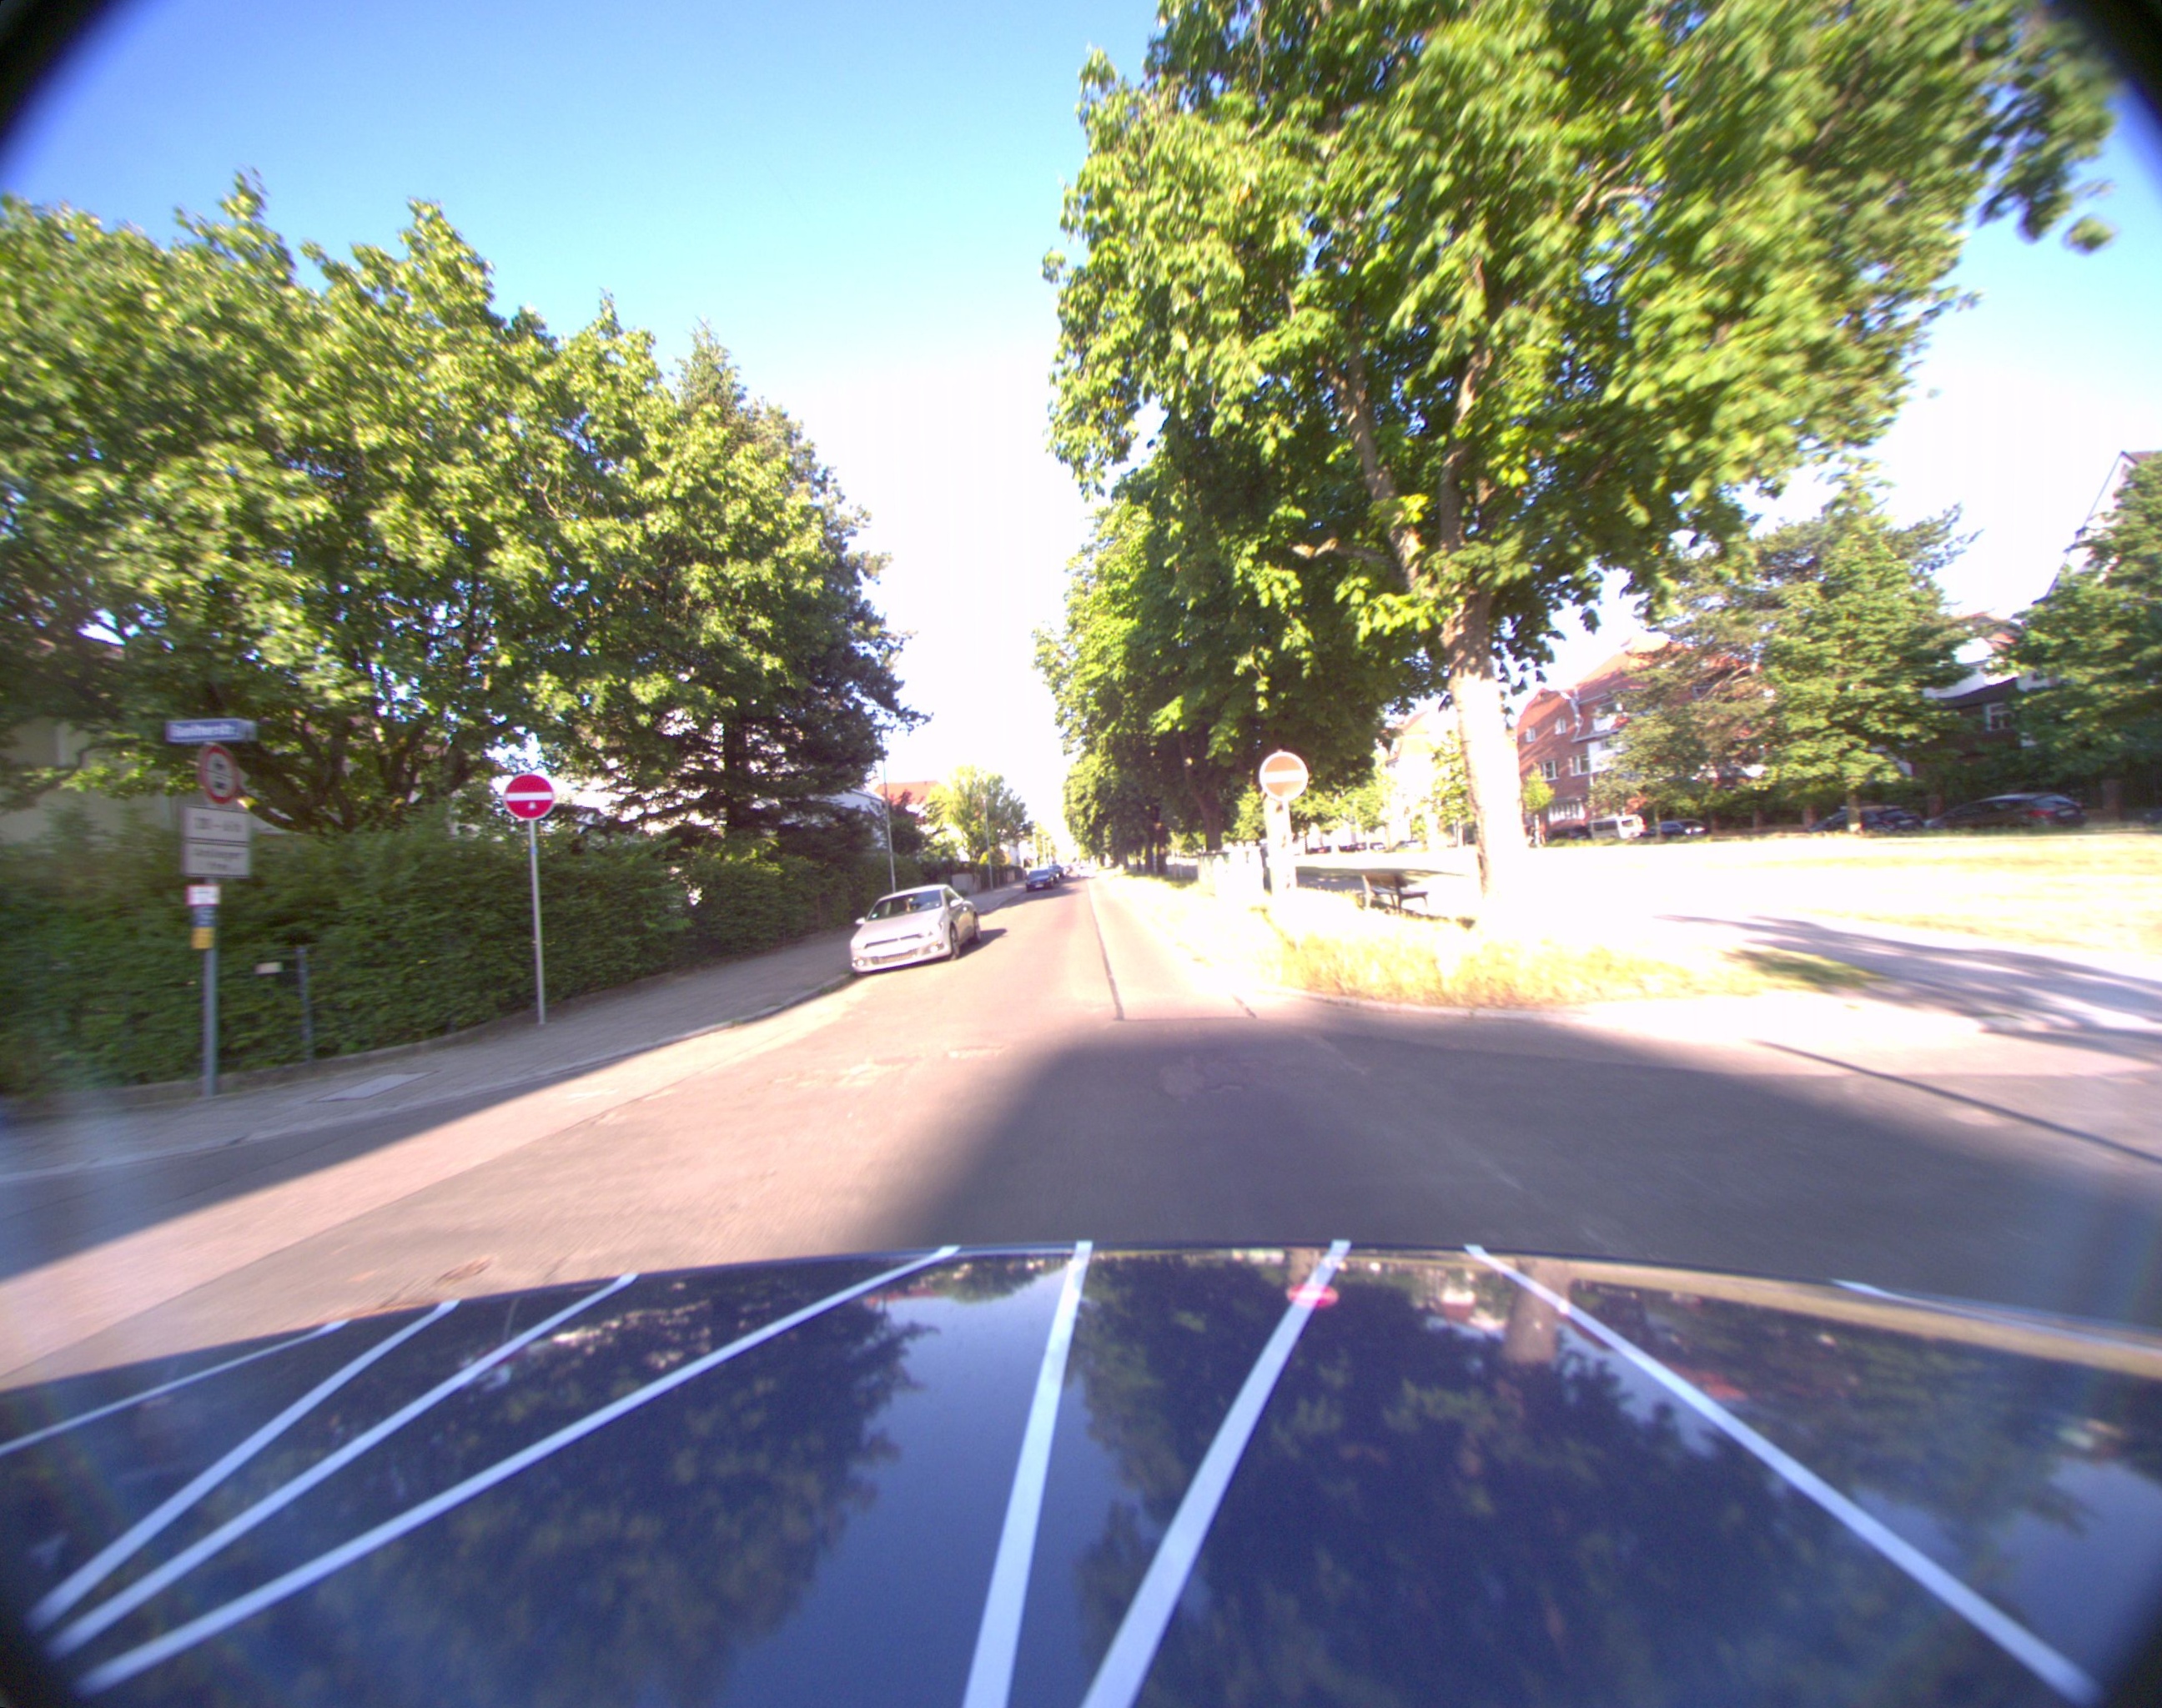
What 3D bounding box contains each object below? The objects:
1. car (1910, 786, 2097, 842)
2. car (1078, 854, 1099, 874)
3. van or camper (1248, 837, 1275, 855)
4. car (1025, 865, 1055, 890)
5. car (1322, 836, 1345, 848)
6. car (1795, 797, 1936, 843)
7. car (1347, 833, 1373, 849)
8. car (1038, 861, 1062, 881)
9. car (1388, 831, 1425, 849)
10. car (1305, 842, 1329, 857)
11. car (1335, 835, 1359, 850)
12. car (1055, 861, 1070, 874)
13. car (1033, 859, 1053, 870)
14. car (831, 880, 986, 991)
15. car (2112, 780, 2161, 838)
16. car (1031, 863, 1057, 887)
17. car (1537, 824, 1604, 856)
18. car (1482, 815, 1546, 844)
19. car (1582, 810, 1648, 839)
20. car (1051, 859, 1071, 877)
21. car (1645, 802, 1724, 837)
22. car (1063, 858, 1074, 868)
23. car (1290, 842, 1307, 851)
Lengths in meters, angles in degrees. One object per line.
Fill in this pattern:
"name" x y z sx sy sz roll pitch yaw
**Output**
"car" 33.810 -1.404 28.050 1.998 1.674 4.000 -5 0 3
"car" 0.813 1.059 83.753 1.998 2.002 4.000 -5 0 0
"van or camper" 34.889 -1.575 146.953 3.262 3.092 7.897 -5 0 1
"car" -2.756 1.554 51.737 1.753 1.468 4.287 -6 0 -2
"car" 40.167 -1.872 120.946 1.999 1.642 4.429 -5 0 -1
"car" 34.093 -1.439 33.210 1.998 1.674 4.000 -5 0 3
"car" 40.220 -1.894 109.562 1.998 2.002 4.876 -5 0 2
"car" -2.714 1.512 67.445 1.798 1.483 4.674 -5 0 0
"car" 34.180 -1.474 79.995 1.824 1.630 4.650 -4 0 0
"car" 34.550 -0.645 111.191 1.998 2.002 4.876 -5 0 2
"car" 40.244 -1.657 115.062 1.999 2.002 4.429 -5 0 -1
"car" -2.466 1.815 101.454 1.784 1.454 4.594 -7 0 0
"car" -7.778 2.240 156.319 3.998 1.916 2.000 -5 0 -3
"car" -3.120 1.420 14.647 1.761 1.411 4.072 -11 0 1
"car" 33.822 -1.431 22.044 1.998 1.711 4.255 -5 0 2
"car" -2.818 1.533 57.256 1.696 1.474 3.928 -9 0 -4
"car" 34.380 -0.932 53.515 1.998 2.002 4.000 -5 0 1
"car" 34.185 -1.867 60.185 1.998 1.929 5.247 -5 -1 1
"car" 39.901 -2.142 56.904 1.821 1.827 4.408 -4 0 1
"car" -2.298 1.581 87.076 1.999 1.727 4.863 -8 0 -1
"car" 39.974 -2.243 50.462 1.998 2.002 4.001 -4 0 2
"car" -2.338 1.691 145.362 1.863 1.710 4.467 -10 0 -1
"car" 41.203 -1.446 144.246 1.998 1.455 4.000 -4 0 0
